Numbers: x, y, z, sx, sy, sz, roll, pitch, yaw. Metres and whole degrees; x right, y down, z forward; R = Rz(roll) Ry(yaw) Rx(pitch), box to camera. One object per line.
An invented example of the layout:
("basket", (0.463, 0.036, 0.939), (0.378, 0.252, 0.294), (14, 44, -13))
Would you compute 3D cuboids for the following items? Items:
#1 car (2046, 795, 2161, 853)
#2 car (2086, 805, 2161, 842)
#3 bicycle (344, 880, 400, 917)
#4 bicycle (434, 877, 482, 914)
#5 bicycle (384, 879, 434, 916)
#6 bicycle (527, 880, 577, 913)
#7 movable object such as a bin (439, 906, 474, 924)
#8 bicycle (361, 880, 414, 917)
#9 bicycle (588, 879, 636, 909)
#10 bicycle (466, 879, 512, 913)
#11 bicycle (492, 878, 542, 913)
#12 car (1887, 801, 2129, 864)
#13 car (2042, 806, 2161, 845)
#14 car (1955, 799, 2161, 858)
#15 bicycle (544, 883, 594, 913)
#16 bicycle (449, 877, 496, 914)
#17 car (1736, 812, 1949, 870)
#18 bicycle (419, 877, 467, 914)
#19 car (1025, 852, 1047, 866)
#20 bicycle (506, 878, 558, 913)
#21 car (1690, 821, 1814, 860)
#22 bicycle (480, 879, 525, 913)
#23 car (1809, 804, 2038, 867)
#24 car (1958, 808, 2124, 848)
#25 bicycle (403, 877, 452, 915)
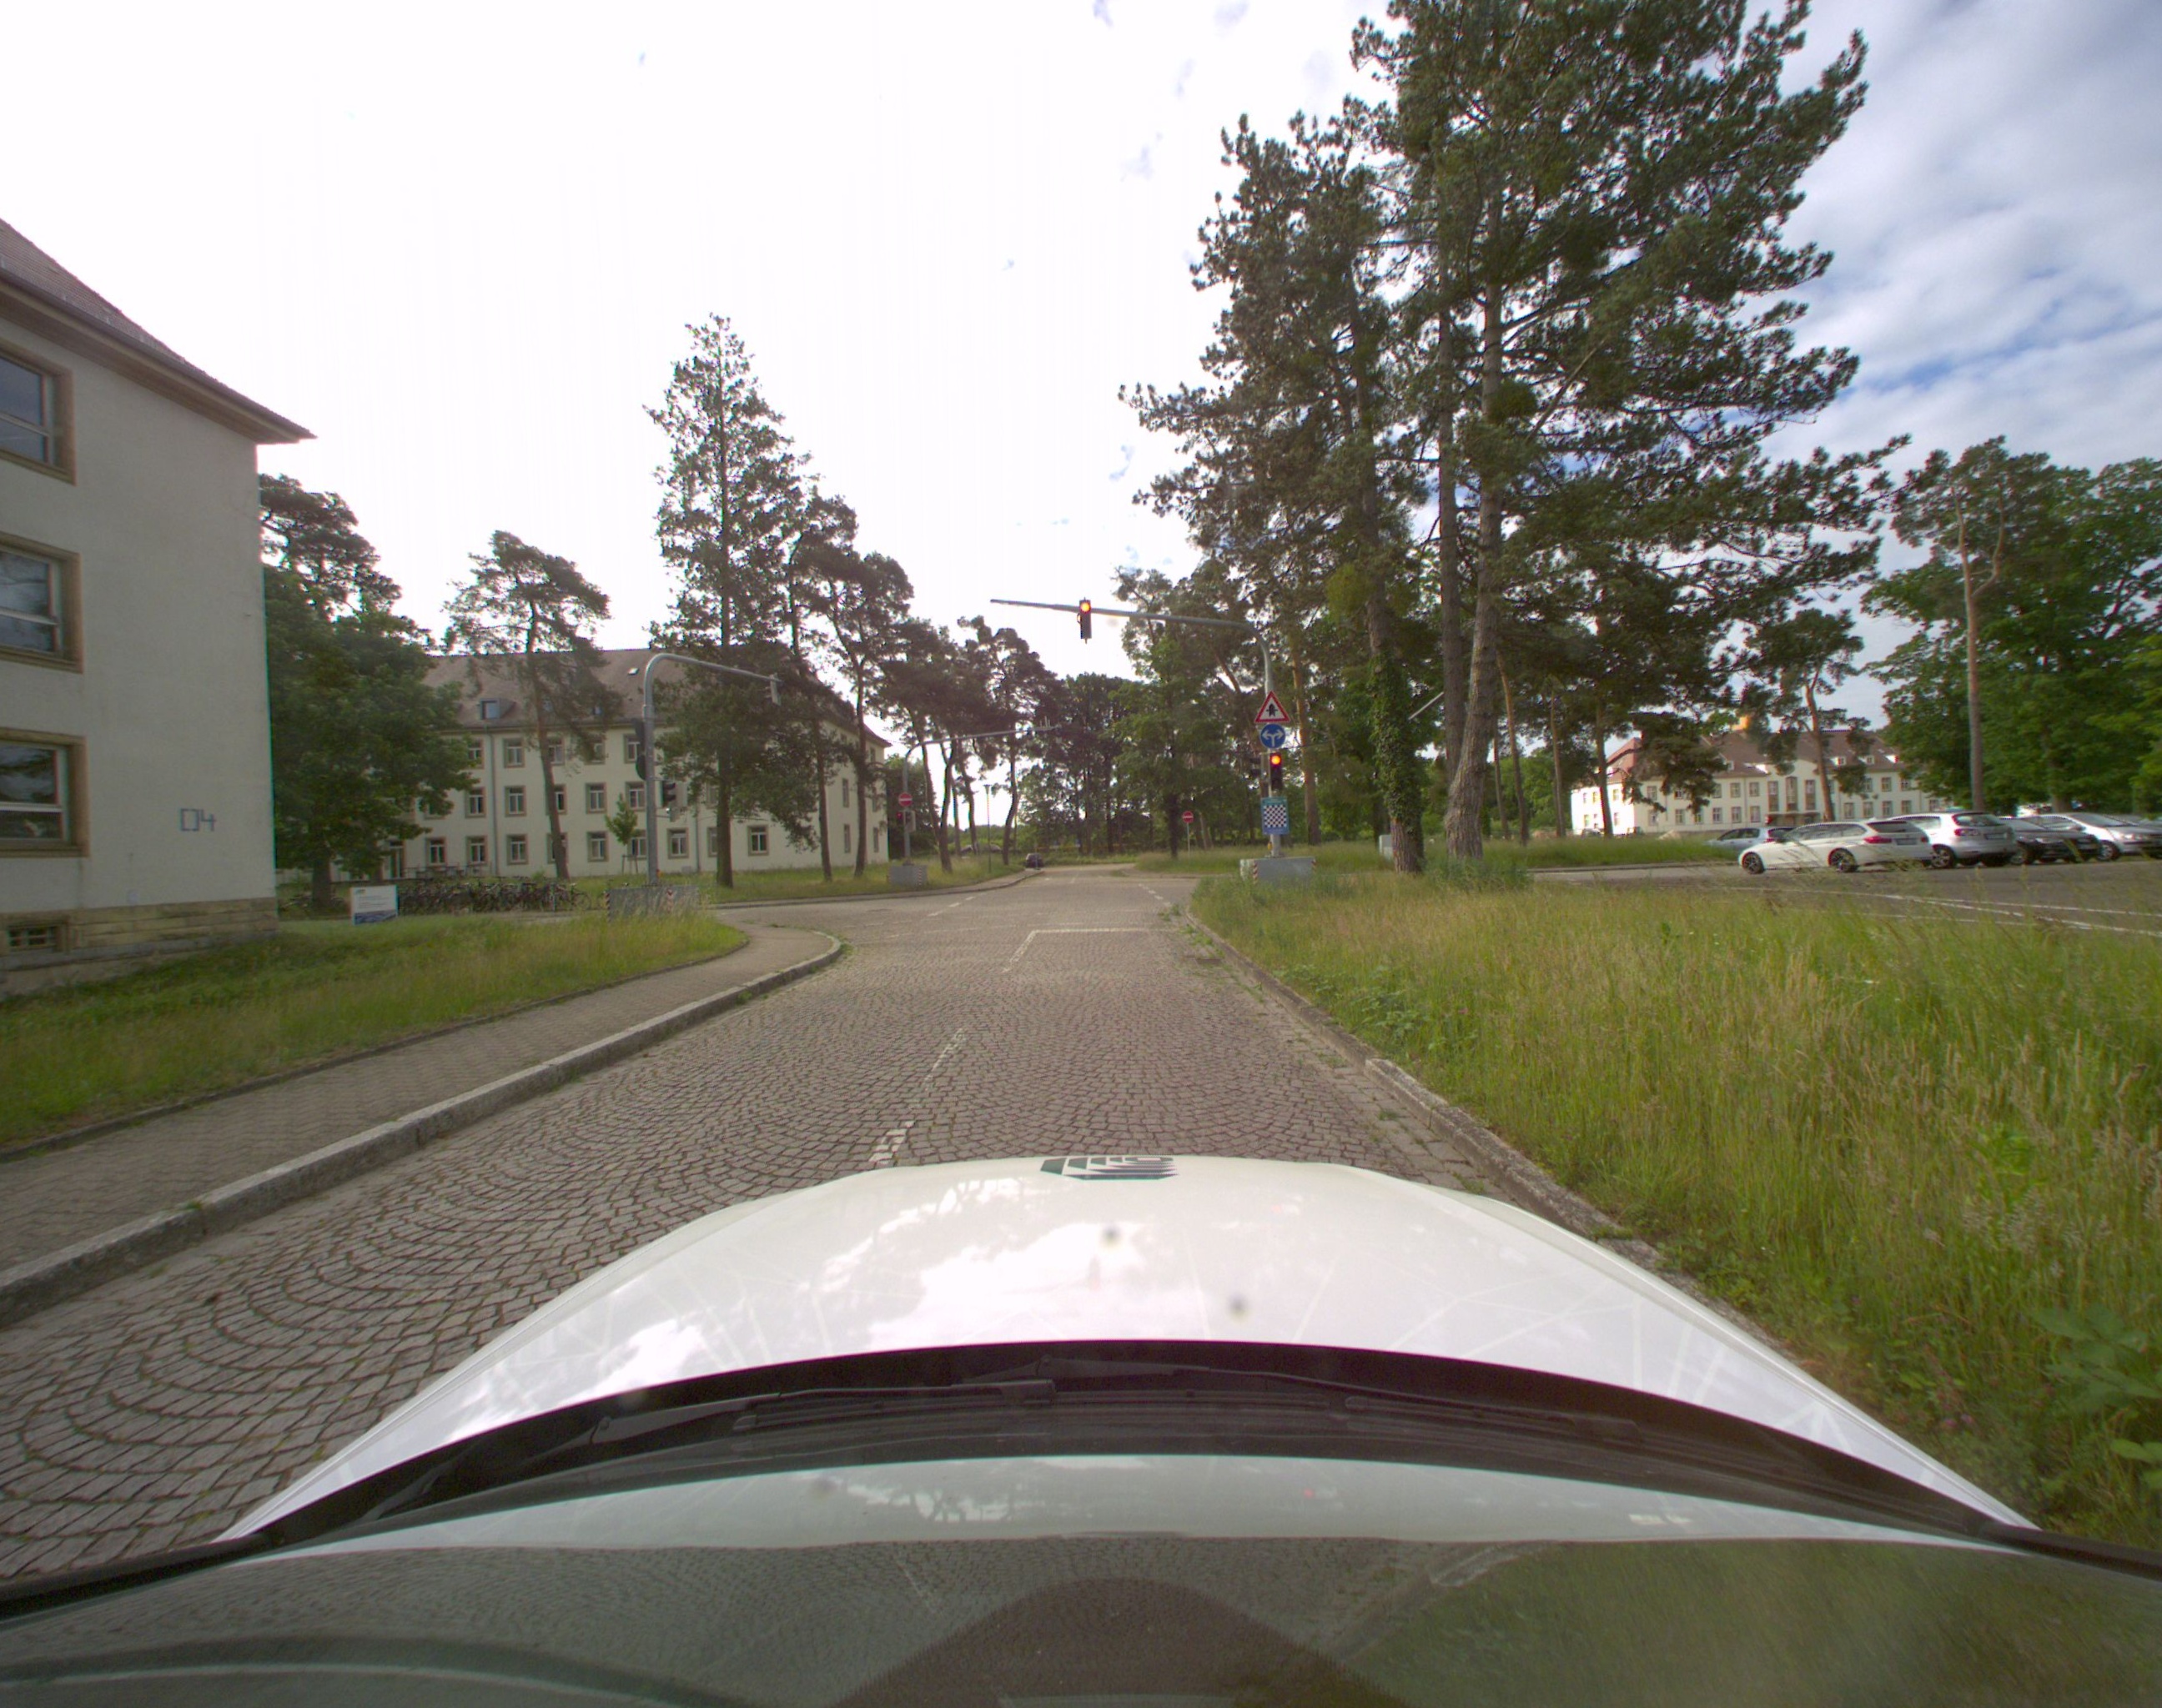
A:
("car", (31.913, -0.899, 23.878), (1.862, 1.686, 4.443), (-2, 0, -3))
("car", (46.754, -1.337, 34.918), (1.748, 1.524, 4.443), (-2, 0, -3))
("bicycle", (-26.589, 1.647, 30.585), (0.447, 1.283, 1.827), (-2, 0, -1))
("bicycle", (-23.428, 1.538, 30.650), (0.447, 1.283, 1.695), (-2, 0, -1))
("bicycle", (-25.169, 1.621, 30.542), (0.447, 1.283, 1.695), (-2, 0, -1))
("bicycle", (-19.931, 1.587, 30.738), (0.573, 1.078, 1.996), (-2, 0, -1))
("movable object such as a bin", (-19.554, 1.917, 25.503), (0.747, 0.503, 0.445), (-2, 0, 0))
("bicycle", (-26.125, 1.647, 30.721), (0.441, 1.283, 1.784), (-2, 0, -1))
("bicycle", (-16.882, 1.448, 29.321), (1.454, 0.996, 0.452), (-2, 0, 1))
("bicycle", (-22.209, 1.569, 30.594), (0.447, 1.178, 1.695), (-2, 0, -1))
("bicycle", (-21.211, 1.552, 30.679), (0.526, 1.178, 1.930), (-2, 0, -1))
("car", (26.599, -0.570, 23.645), (1.862, 1.577, 4.443), (-2, 0, -3))
("car", (44.005, -1.205, 34.294), (1.748, 1.524, 4.443), (-2, 0, -3))
("car", (29.291, -0.722, 24.136), (1.862, 1.577, 4.443), (-2, 0, -3))
("bicycle", (-18.405, 1.566, 29.287), (1.454, 0.996, 0.452), (-2, 0, 1))
("bicycle", (-22.923, 1.529, 30.695), (0.447, 1.283, 1.695), (-2, 0, -1))
("car", (21.330, -0.321, 23.123), (1.748, 1.415, 4.443), (-2, 0, -3))
("bicycle", (-23.943, 1.547, 30.602), (0.447, 1.283, 1.695), (-2, 0, -1))
("car", (-4.754, 0.511, 86.628), (1.986, 1.508, 4.002), (-1, 0, 2))
("bicycle", (-20.627, 1.542, 30.637), (0.573, 1.178, 1.953), (-2, 0, -1))
("car", (28.681, -0.555, 35.018), (1.746, 1.524, 4.450), (-3, 0, 2))
("bicycle", (-21.723, 1.573, 30.619), (0.447, 1.178, 1.695), (-2, 0, -1))
("car", (23.905, -0.499, 23.402), (1.862, 1.577, 4.443), (-2, 0, -3))
("car", (40.875, -1.046, 34.850), (1.748, 1.524, 4.443), (-2, 0, -3))
("bicycle", (-24.506, 1.557, 30.574), (0.447, 1.283, 1.695), (-2, 0, -1))
